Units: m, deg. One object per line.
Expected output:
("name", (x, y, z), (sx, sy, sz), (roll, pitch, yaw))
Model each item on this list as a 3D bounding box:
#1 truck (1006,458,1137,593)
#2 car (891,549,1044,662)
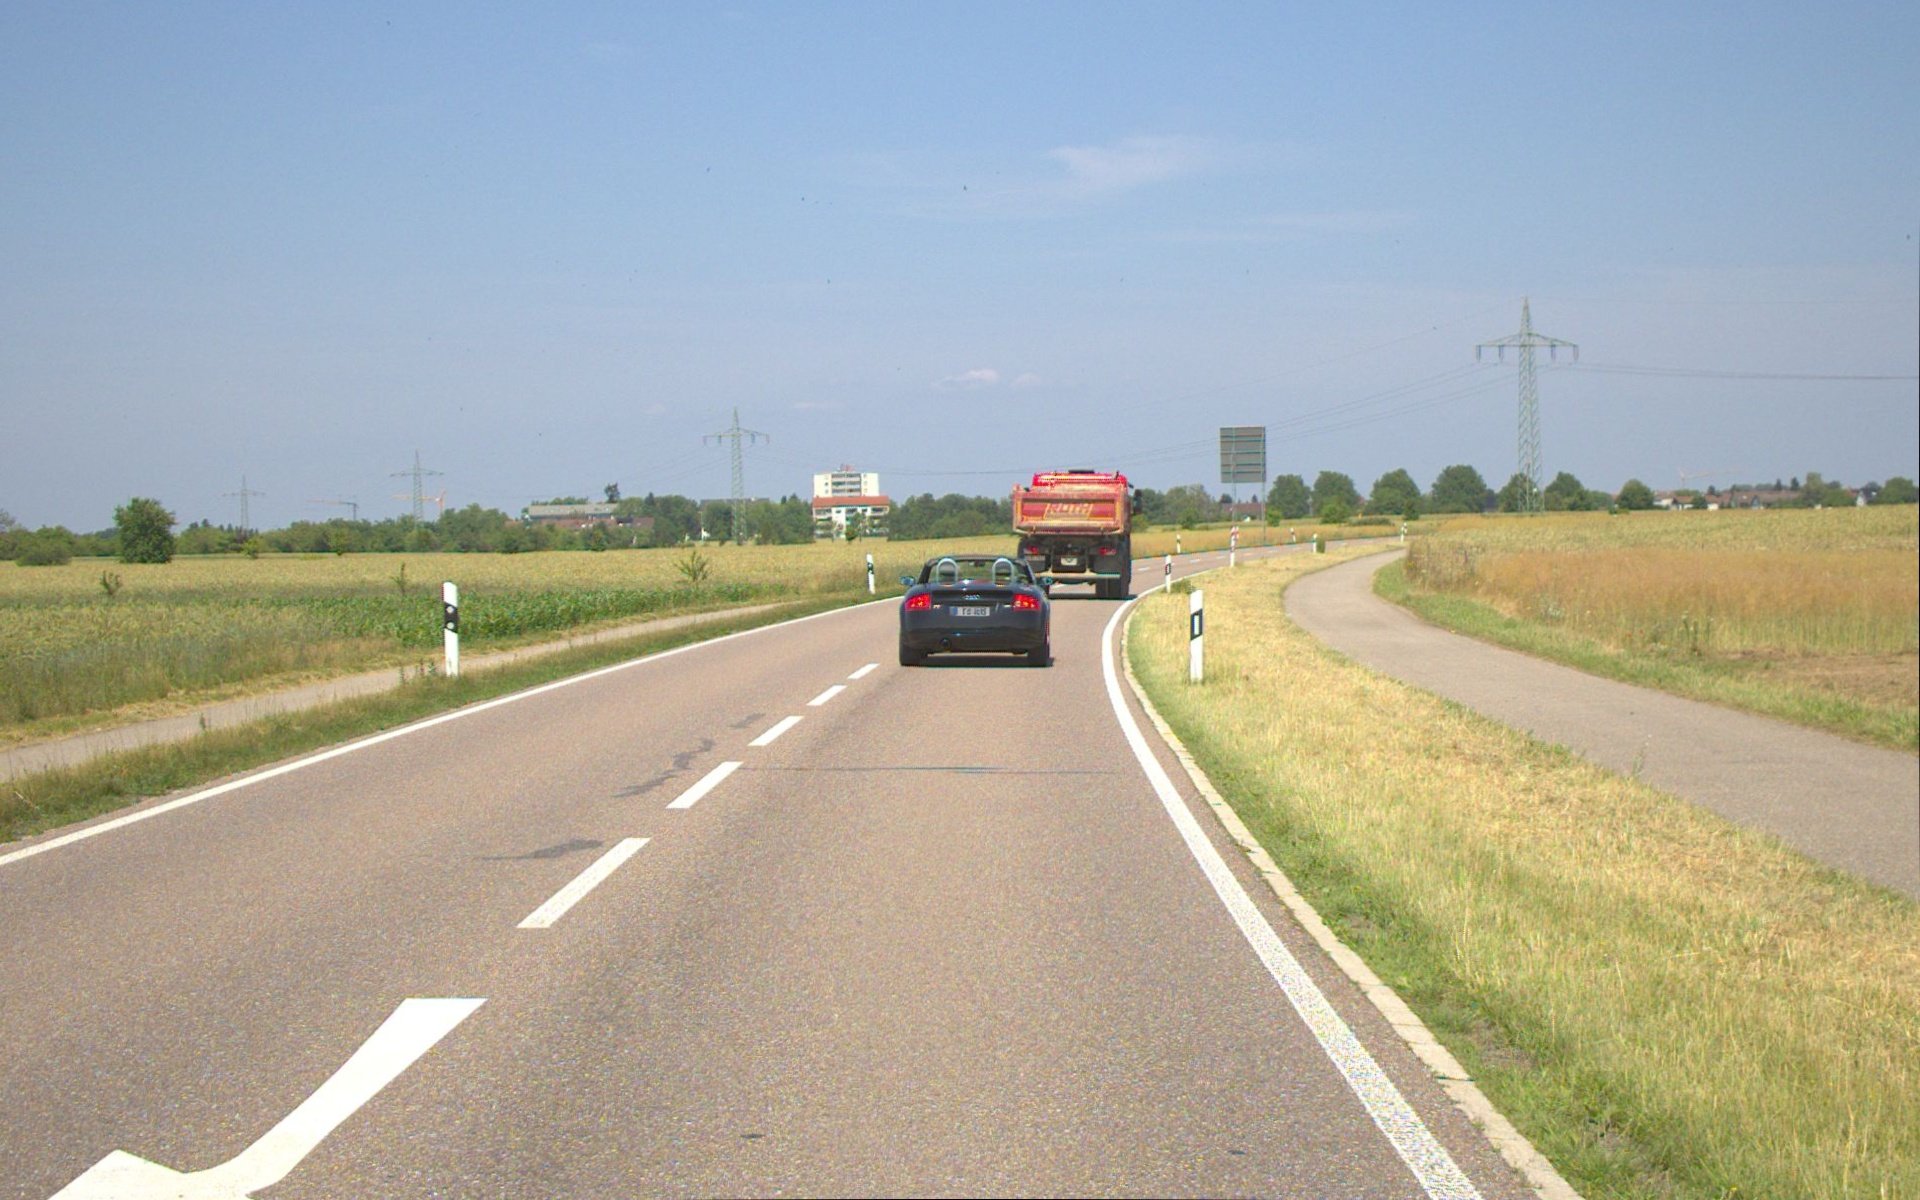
("truck", (2.730, -1.738, 82.008), (2.938, 3.078, 7.195), (0, 1, 3))
("car", (0.136, 0.038, 41.245), (1.744, 1.275, 4.000), (0, 1, 1))
